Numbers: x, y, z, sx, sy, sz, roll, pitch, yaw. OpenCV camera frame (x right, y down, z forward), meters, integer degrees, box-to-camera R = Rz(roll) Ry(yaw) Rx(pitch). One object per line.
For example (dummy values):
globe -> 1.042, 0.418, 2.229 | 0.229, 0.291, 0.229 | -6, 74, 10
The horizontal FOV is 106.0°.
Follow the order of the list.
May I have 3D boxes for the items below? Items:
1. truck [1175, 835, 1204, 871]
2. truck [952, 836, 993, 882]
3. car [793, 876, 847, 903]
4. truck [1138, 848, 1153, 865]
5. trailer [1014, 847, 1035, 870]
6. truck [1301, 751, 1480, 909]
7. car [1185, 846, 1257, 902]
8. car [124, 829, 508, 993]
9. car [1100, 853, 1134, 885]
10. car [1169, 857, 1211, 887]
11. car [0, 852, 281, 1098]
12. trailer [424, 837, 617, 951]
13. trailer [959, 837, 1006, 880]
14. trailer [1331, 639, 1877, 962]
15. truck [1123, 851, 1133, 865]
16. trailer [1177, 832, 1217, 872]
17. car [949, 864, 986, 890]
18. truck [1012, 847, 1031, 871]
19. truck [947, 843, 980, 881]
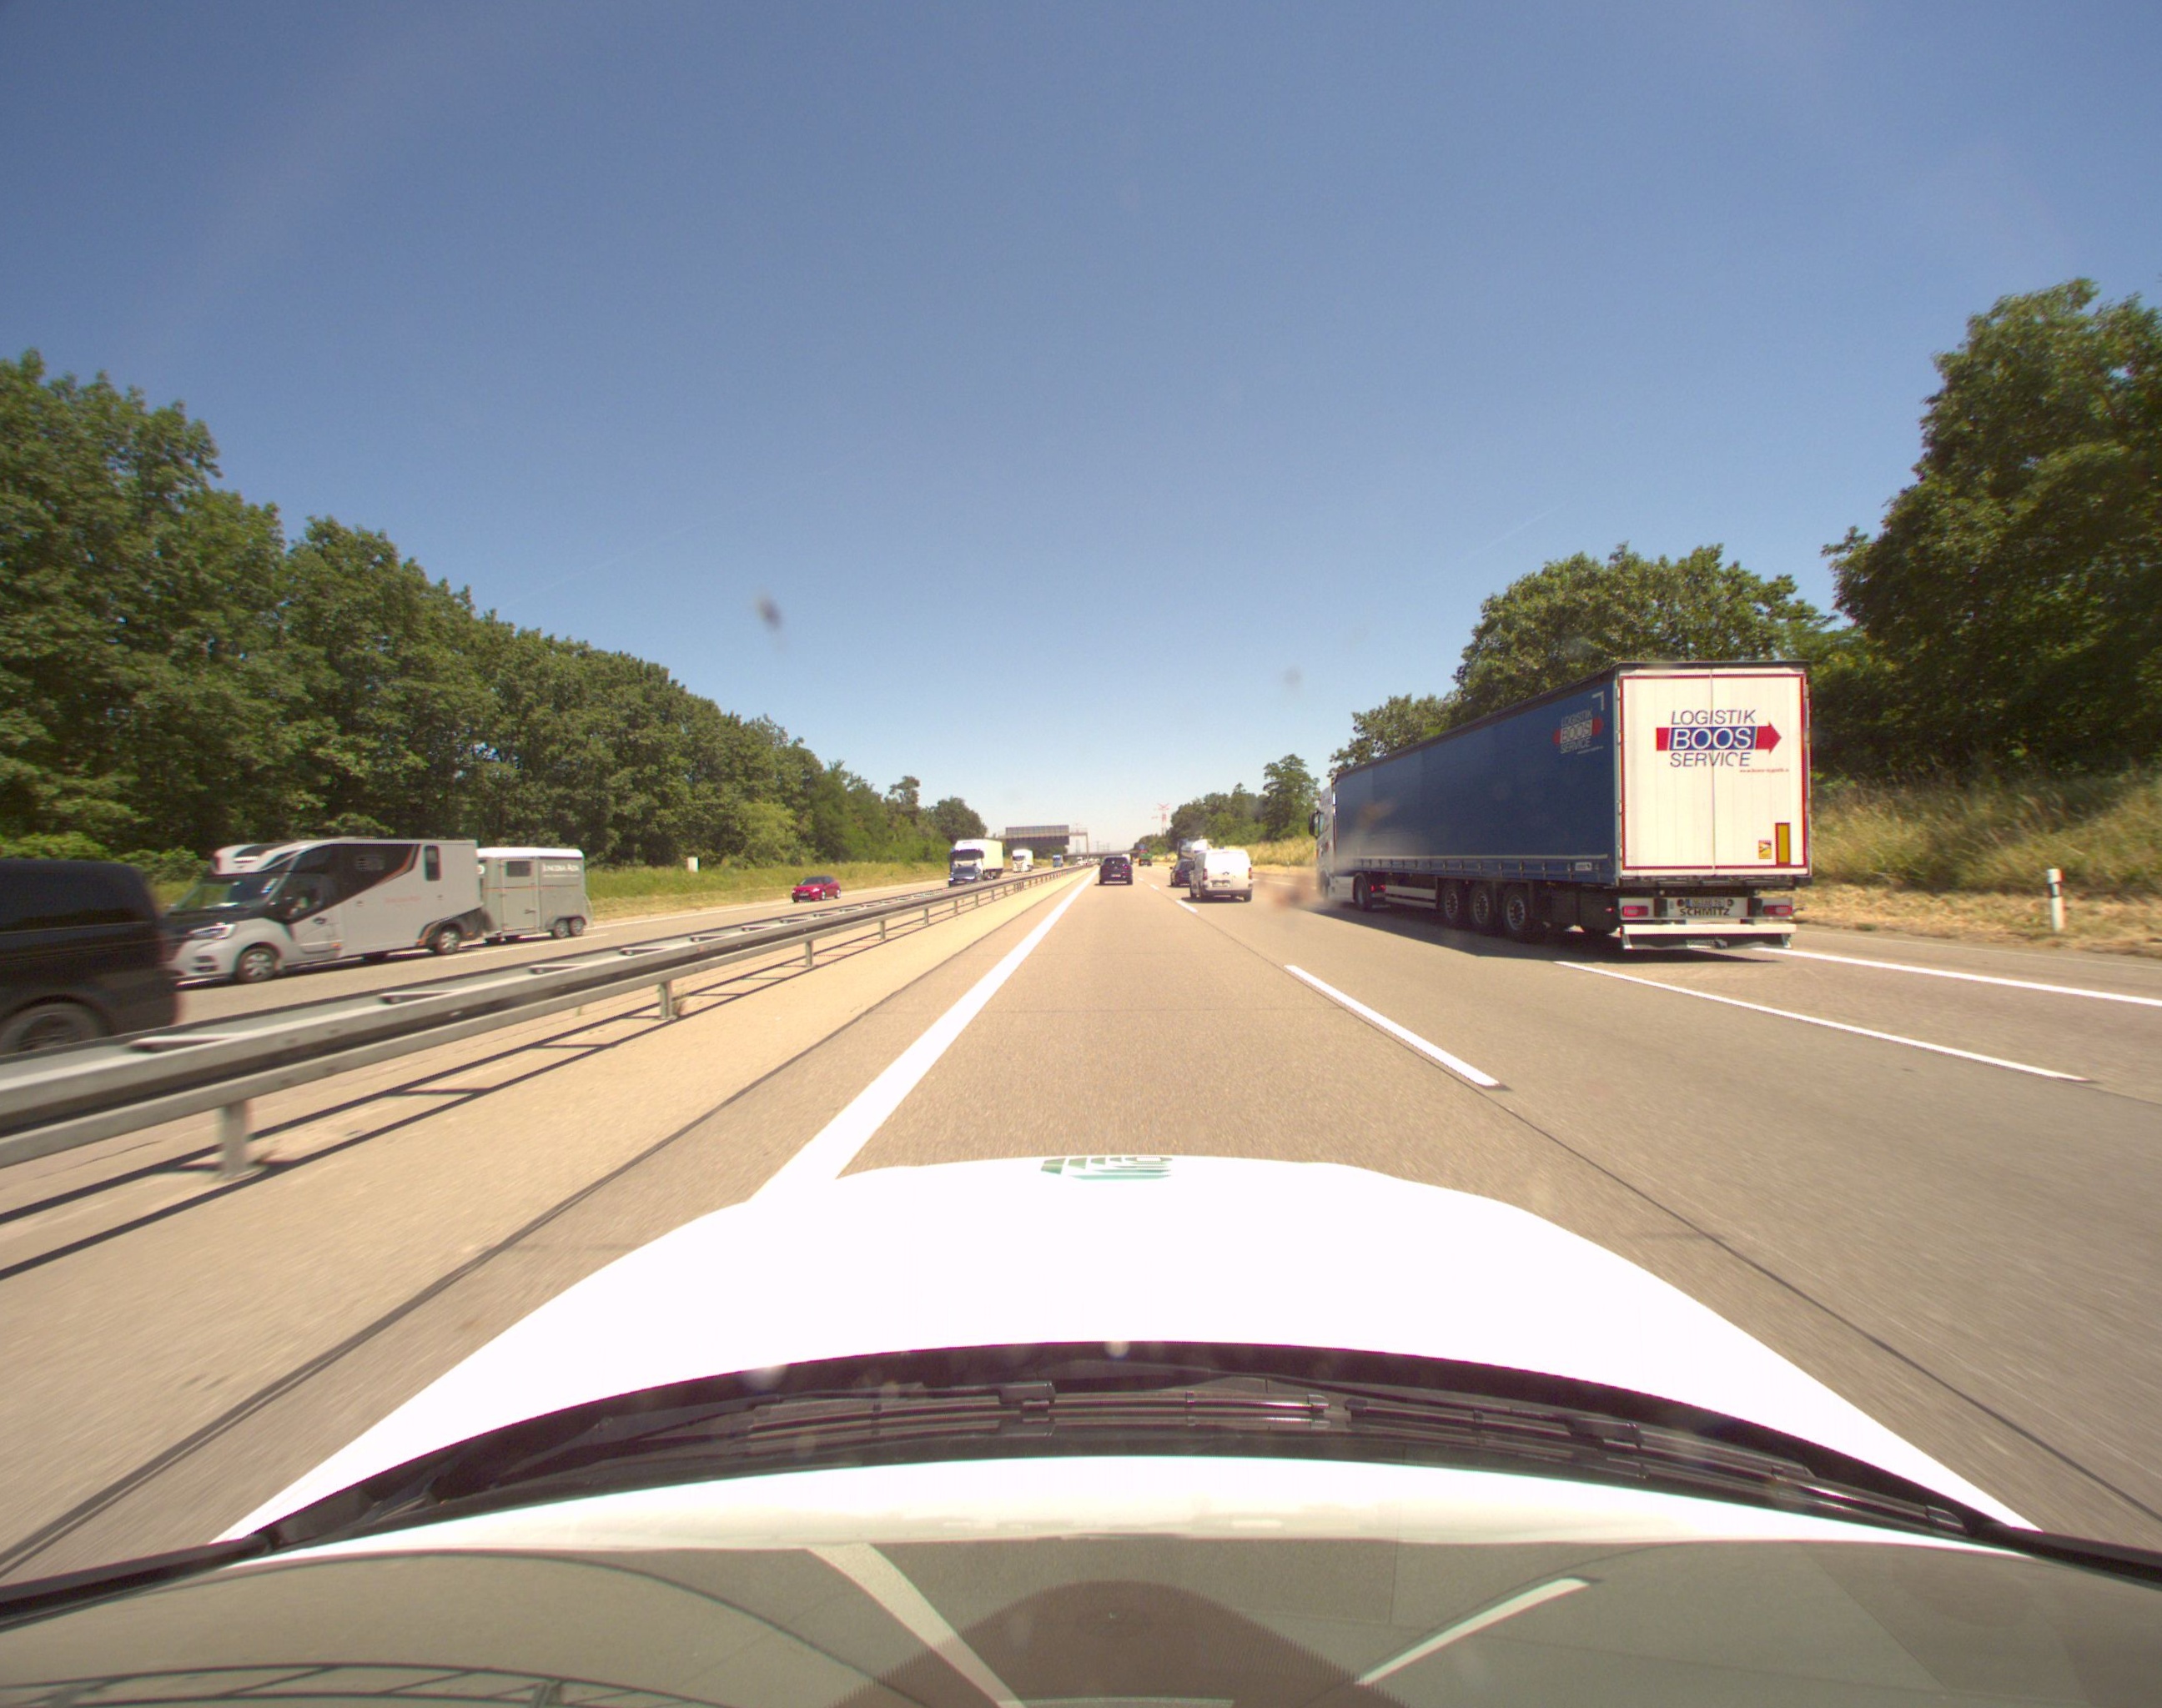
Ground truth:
truck -> 11.924, -0.120, 89.477 | 2.673, 3.837, 4.445 | 0, -1, 1
truck -> -10.153, 0.434, 77.053 | 2.659, 3.990, 6.342 | -4, 0, 1
car -> -15.029, 2.022, 47.023 | 1.633, 1.276, 4.134 | -4, 0, 1
truck -> 14.707, 0.576, 186.189 | 2.978, 3.728, 10.092 | 0, 0, 1
trailer -> -10.882, 0.871, 157.385 | 2.692, 4.186, 12.066 | -4, 0, 1
truck -> 9.109, -0.634, 24.868 | 3.274, 4.219, 6.009 | 0, -1, 1
car -> 4.991, 0.682, 29.702 | 1.808, 1.827, 5.112 | -2, 0, 1
car -> -16.256, 1.053, 18.119 | 2.205, 2.857, 6.455 | -4, 0, 1
car -> 2.135, 0.875, 49.875 | 1.933, 1.752, 5.814 | -1, 0, 1
car -> 5.844, 0.943, 44.040 | 1.768, 1.472, 3.873 | -2, 0, 1
car -> -9.102, 0.962, 5.273 | 1.869, 1.847, 5.836 | -4, 0, 2
trailer -> -16.031, 1.058, 23.683 | 2.205, 2.857, 4.586 | -4, 0, 1
trailer -> -9.997, 0.452, 84.145 | 2.659, 3.990, 13.134 | -4, 0, 1
trailer -> 8.943, -0.651, 17.476 | 3.274, 4.219, 13.568 | 0, 0, 1
truck -> 10.696, 0.946, 186.901 | 2.053, 2.914, 7.005 | -2, 0, 1
trailer -> 11.786, -0.154, 83.777 | 2.673, 3.837, 12.013 | 0, 0, 1
car -> -7.463, 1.480, 53.783 | 1.611, 1.482, 4.626 | -4, 0, 1
truck -> -11.019, 0.840, 151.064 | 2.692, 4.186, 6.190 | -4, 0, 1
truck -> -14.020, 0.941, 97.840 | 2.659, 4.169, 6.190 | -4, 0, 1
